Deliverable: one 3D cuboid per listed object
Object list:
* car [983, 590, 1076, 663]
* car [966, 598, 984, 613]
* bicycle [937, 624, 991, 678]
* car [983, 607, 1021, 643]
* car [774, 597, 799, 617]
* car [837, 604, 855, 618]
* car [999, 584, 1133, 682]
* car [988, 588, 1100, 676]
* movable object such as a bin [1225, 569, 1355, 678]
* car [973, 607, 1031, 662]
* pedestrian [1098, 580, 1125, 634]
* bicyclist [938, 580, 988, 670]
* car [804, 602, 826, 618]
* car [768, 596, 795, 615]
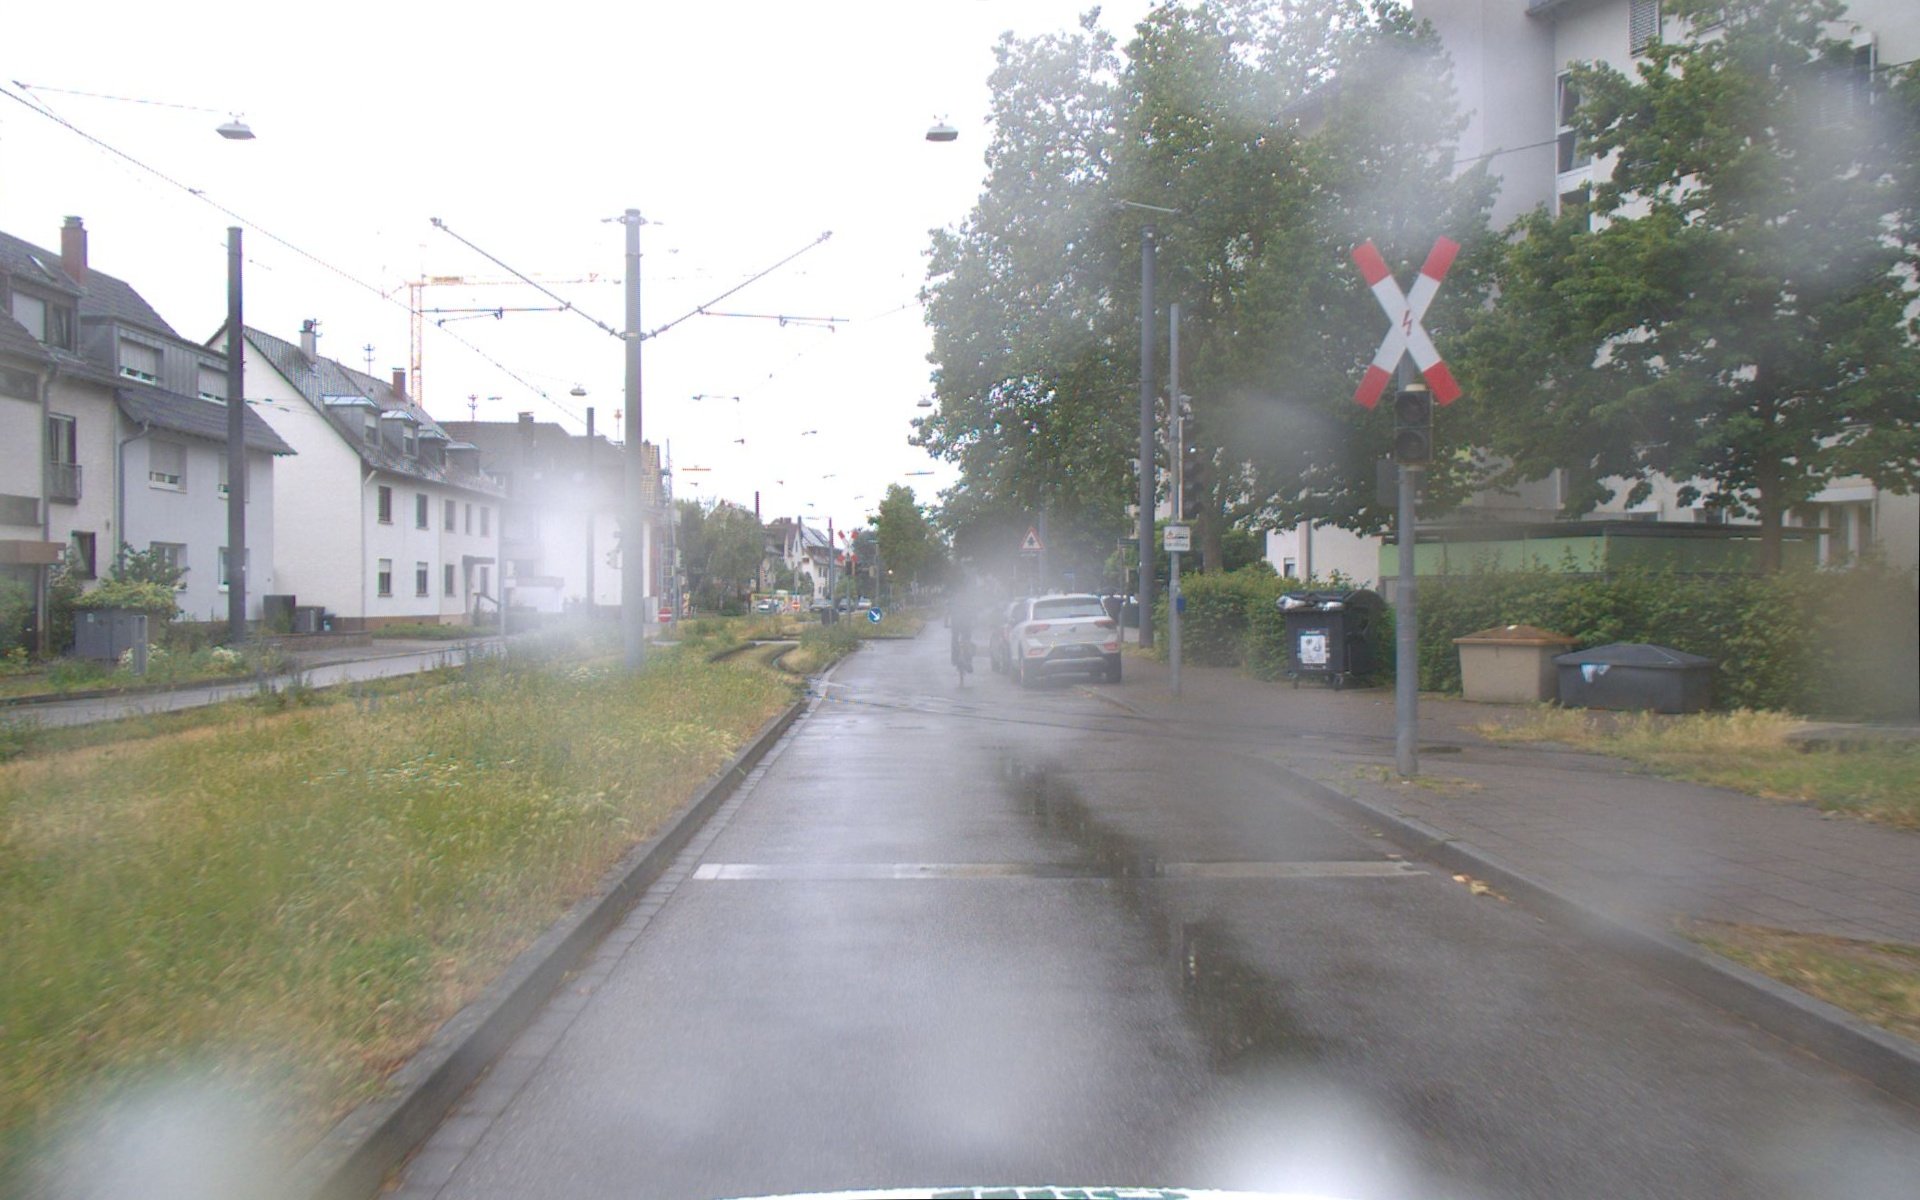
[{"bbox_3d":[1.699,0.666,41.644,1.903,1.680,3.997,-2,-1,-3],"label":"car"},{"bbox_3d":[1.704,0.648,193.984,1.953,1.518,3.998,0,-2,-2],"label":"car"},{"bbox_3d":[0.053,0.915,30.083,0.805,0.928,1.983,-1,-1,-5],"label":"bicycle"},{"bbox_3d":[2.446,1.465,97.097,1.903,2.049,3.997,-2,-1,-3],"label":"car"},{"bbox_3d":[-15.810,0.654,150.977,1.953,1.735,3.999,0,-2,-1],"label":"car"},{"bbox_3d":[-13.864,1.322,201.038,1.953,1.571,3.999,0,-2,-1],"label":"car"},{"bbox_3d":[1.843,0.586,29.977,1.916,1.580,3.997,-2,-1,-3],"label":"car"},{"bbox_3d":[1.706,0.667,34.946,1.903,1.680,3.997,-2,-1,-3],"label":"car"},{"bbox_3d":[5.494,0.374,27.587,1.530,1.734,1.488,-1,0,-26],"label":"movable object such as a bin"},{"bbox_3d":[1.634,1.337,65.370,1.903,2.049,3.997,-2,-1,-3],"label":"car"},{"bbox_3d":[4.979,0.236,54.378,0.732,1.746,0.750,-2,-1,-2],"label":"pedestrian"},{"bbox_3d":[0.045,0.448,30.009,0.815,1.585,0.913,-1,-1,-5],"label":"bicyclist"},{"bbox_3d":[-15.398,1.076,175.984,1.953,1.571,3.999,0,-2,-1],"label":"car"},{"bbox_3d":[-15.782,0.502,146.272,1.953,1.571,3.999,0,-2,-1],"label":"car"}]
